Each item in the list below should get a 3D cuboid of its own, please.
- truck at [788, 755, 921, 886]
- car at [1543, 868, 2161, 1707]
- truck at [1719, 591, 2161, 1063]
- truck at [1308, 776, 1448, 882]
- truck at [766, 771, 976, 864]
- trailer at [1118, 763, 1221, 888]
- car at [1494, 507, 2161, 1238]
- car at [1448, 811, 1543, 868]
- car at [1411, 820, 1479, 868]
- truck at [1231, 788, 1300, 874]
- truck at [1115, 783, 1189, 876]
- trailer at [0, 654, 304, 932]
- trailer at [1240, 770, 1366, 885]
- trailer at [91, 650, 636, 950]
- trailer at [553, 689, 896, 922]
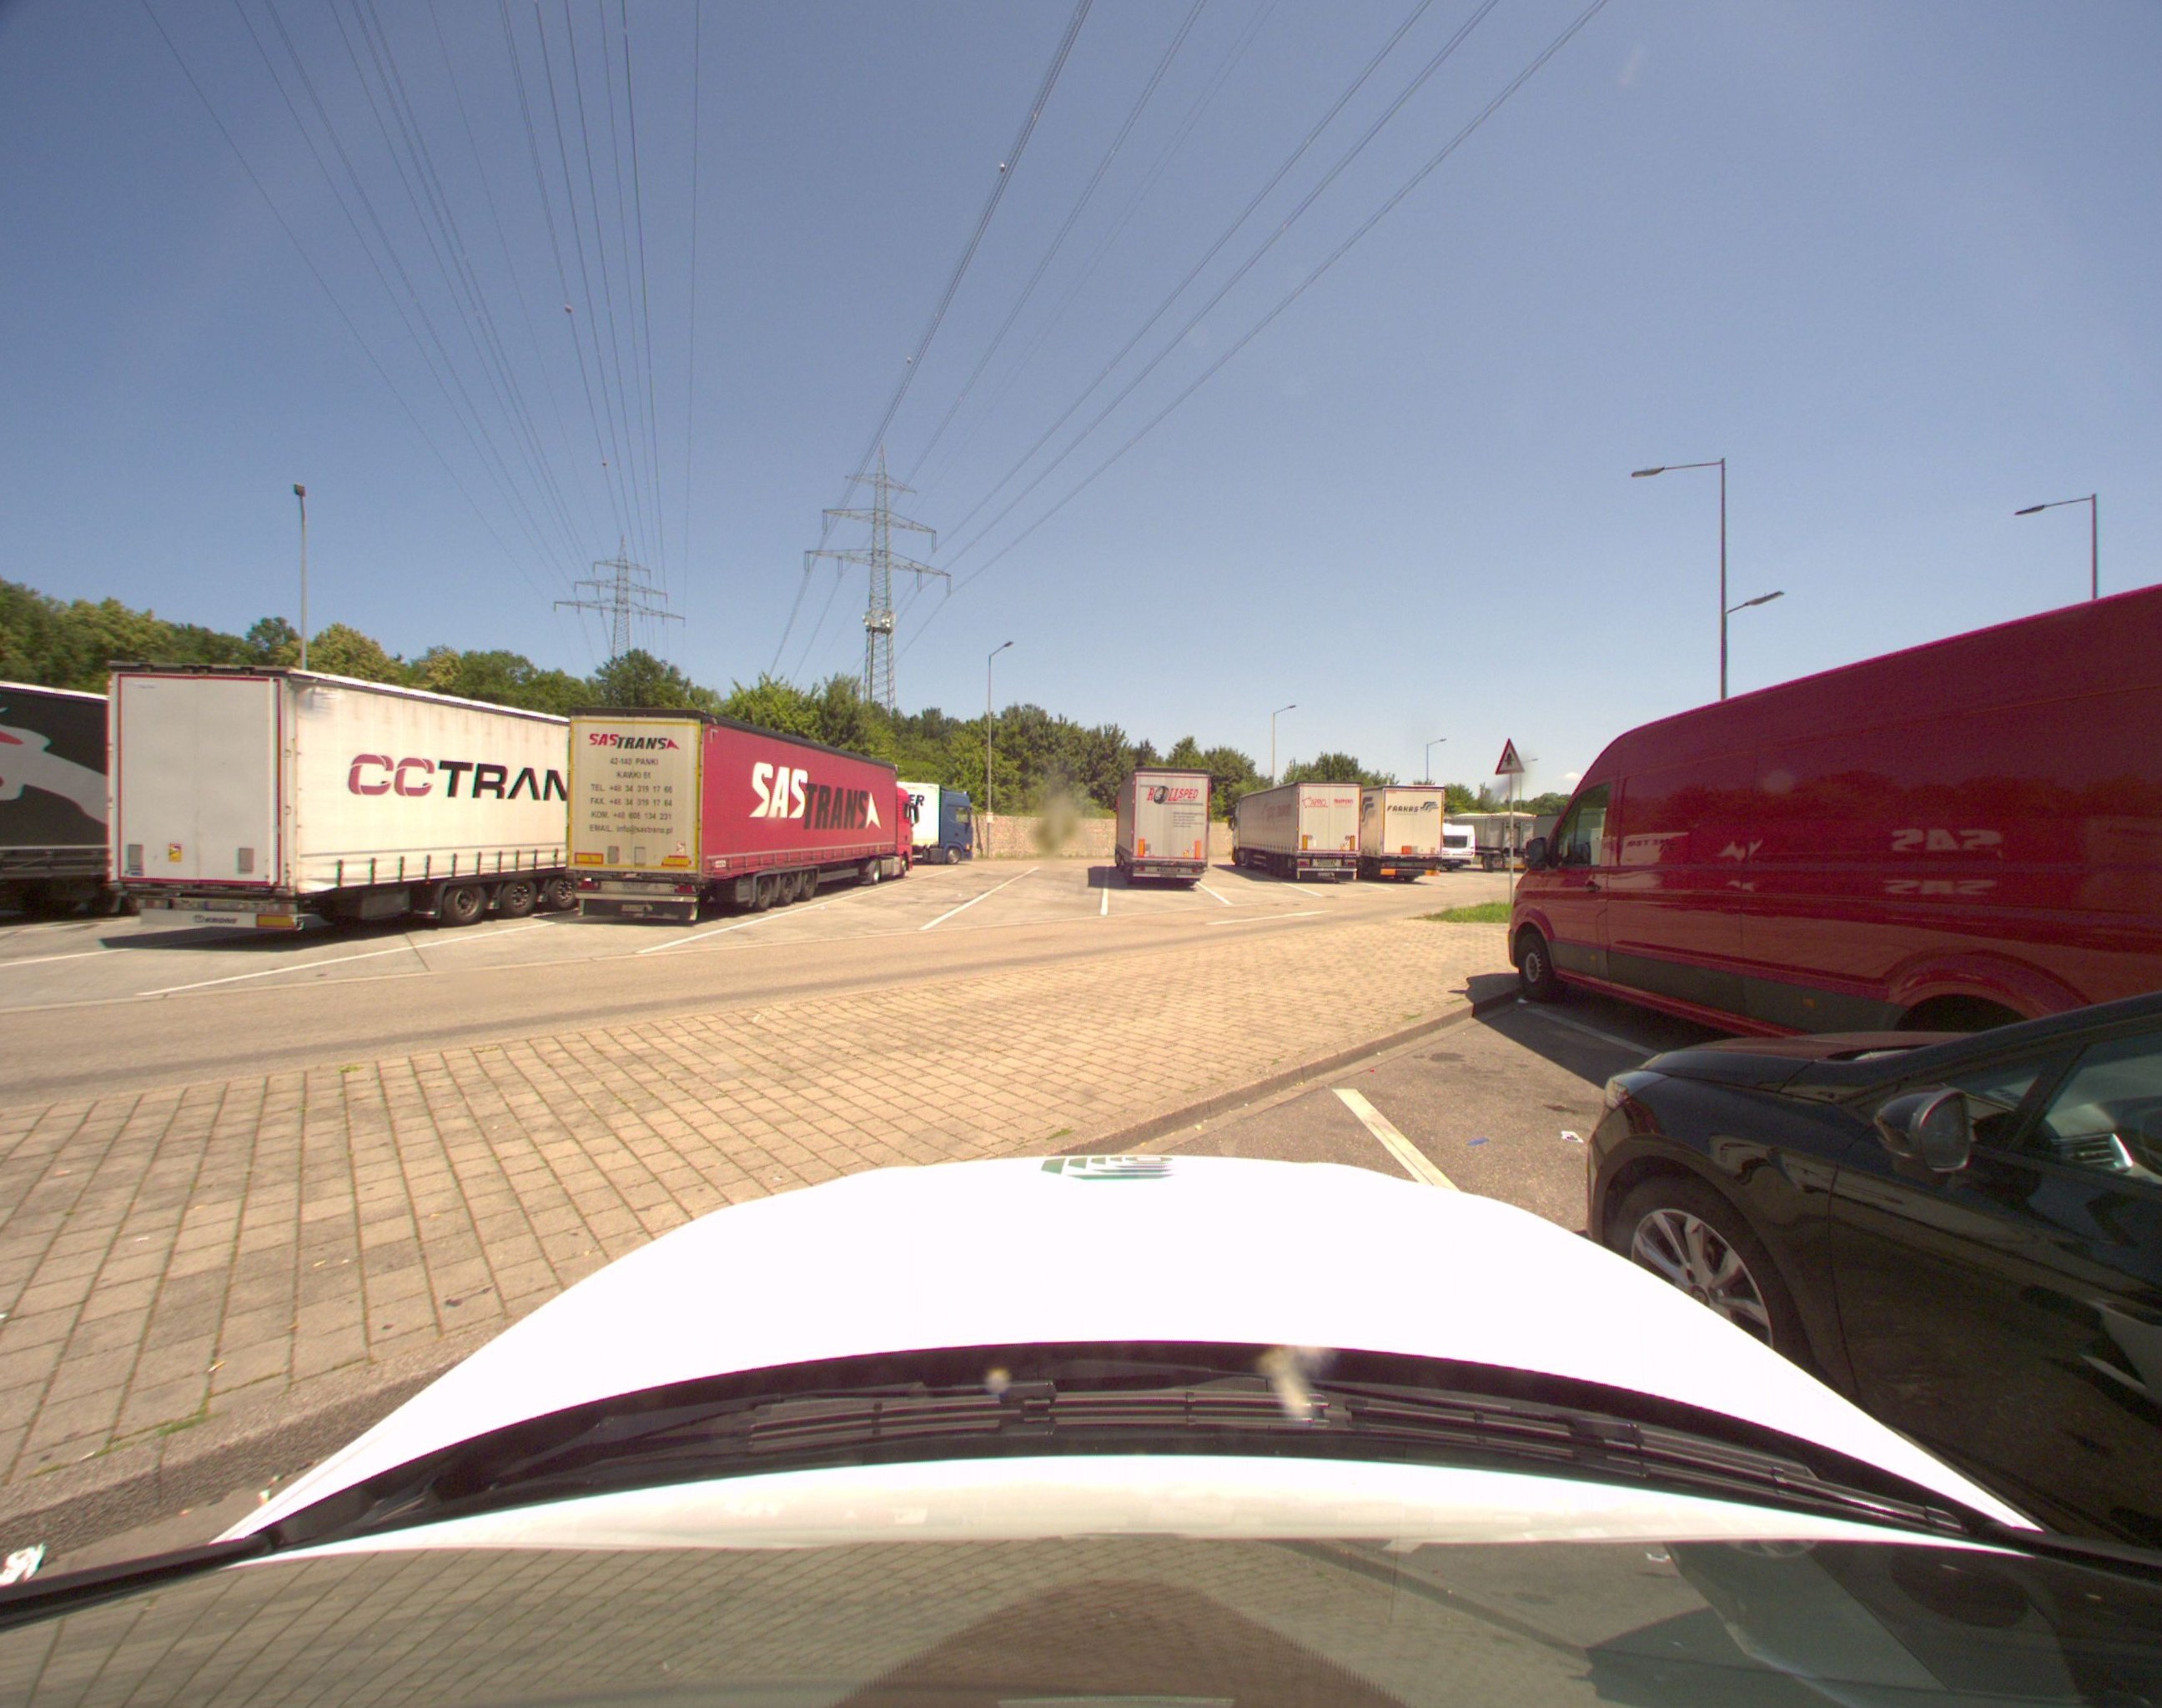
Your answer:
[{"bbox_3d":[-7.752,-1.098,28.704,2.795,4.133,5.896,-1,1,2],"label":"truck"},{"bbox_3d":[2.558,0.767,0.991,1.772,1.457,3.682,0,-1,-3],"label":"car"},{"bbox_3d":[7.795,-0.160,6.042,2.508,2.827,4.821,0,-1,3],"label":"truck"},{"bbox_3d":[13.530,-0.949,38.545,2.577,4.226,11.974,0,-1,2],"label":"truck"},{"bbox_3d":[-9.840,-1.582,39.496,10.112,4.033,2.214,0,0,-45],"label":"truck"},{"bbox_3d":[3.132,-1.008,32.214,2.887,4.013,11.317,-1,1,0],"label":"trailer"},{"bbox_3d":[5.137,0.024,5.505,1.984,2.633,6.393,-1,1,5],"label":"car"},{"bbox_3d":[24.133,-0.835,47.745,2.490,3.074,6.353,-1,1,2],"label":"car"},{"bbox_3d":[20.536,-0.530,46.123,2.107,2.599,4.001,0,-1,2],"label":"car"},{"bbox_3d":[10.071,-1.237,45.059,2.651,4.452,5.866,-1,1,2],"label":"truck"},{"bbox_3d":[3.158,-1.091,37.831,2.862,3.980,6.028,0,1,0],"label":"truck"},{"bbox_3d":[-18.561,-0.985,14.848,2.668,4.444,6.151,-1,1,2],"label":"trailer"},{"bbox_3d":[9.901,-1.120,38.122,2.672,4.452,12.833,-1,1,1],"label":"trailer"},{"bbox_3d":[-12.207,-0.807,15.424,2.744,4.152,8.291,0,1,2],"label":"trailer"},{"bbox_3d":[-8.002,-0.971,21.447,2.789,4.219,13.208,-1,1,2],"label":"trailer"}]
